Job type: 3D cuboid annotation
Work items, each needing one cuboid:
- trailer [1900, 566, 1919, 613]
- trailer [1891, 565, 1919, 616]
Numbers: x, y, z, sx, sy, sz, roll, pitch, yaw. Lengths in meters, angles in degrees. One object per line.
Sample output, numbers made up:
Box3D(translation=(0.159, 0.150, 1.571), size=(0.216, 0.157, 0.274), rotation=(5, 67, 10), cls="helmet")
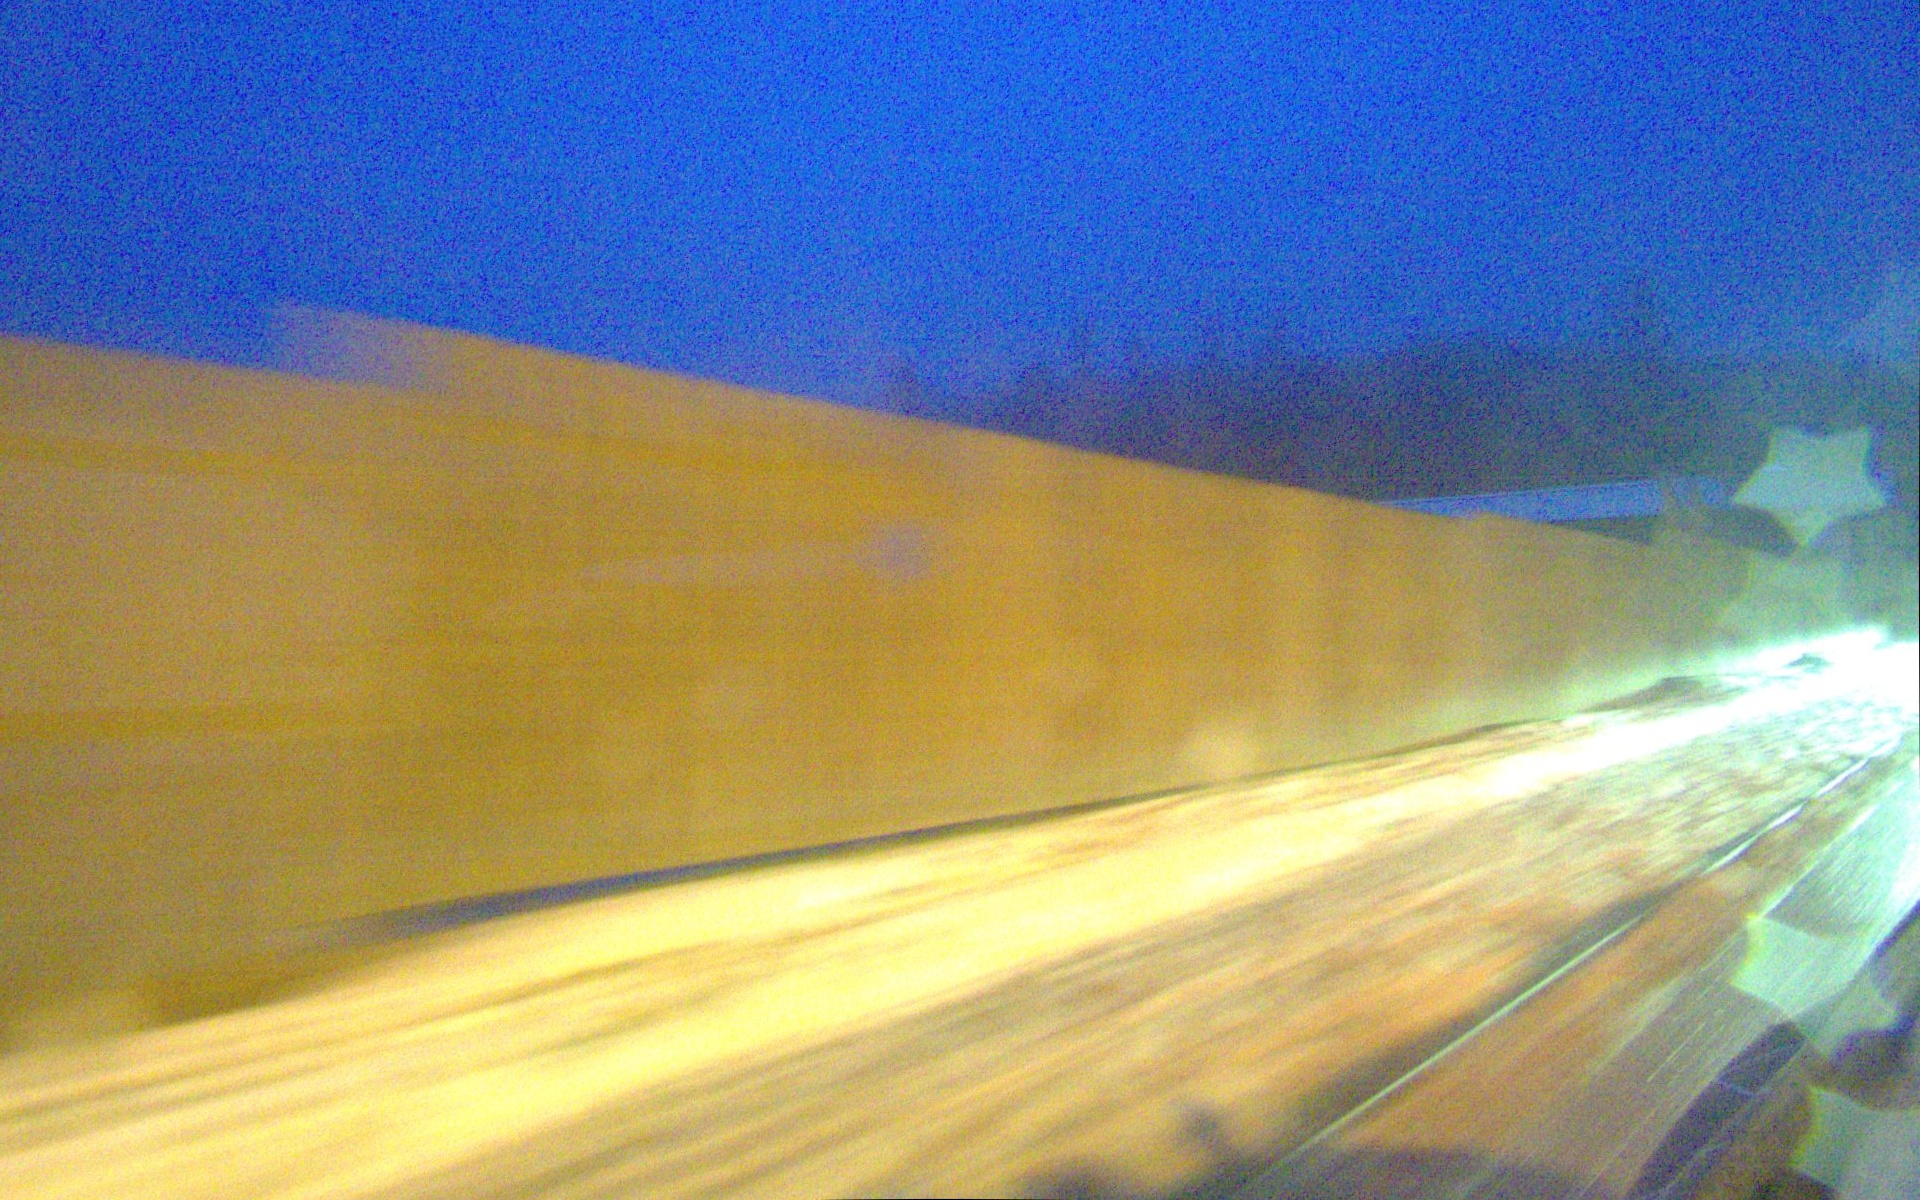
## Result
Box3D(translation=(50.821, -0.627, 53.174), size=(4.356, 2.382, 1.607), rotation=(-2, -2, -43), cls="trailer")
Box3D(translation=(47.184, -0.514, 49.713), size=(4.575, 2.395, 1.631), rotation=(-2, -2, -43), cls="trailer")
